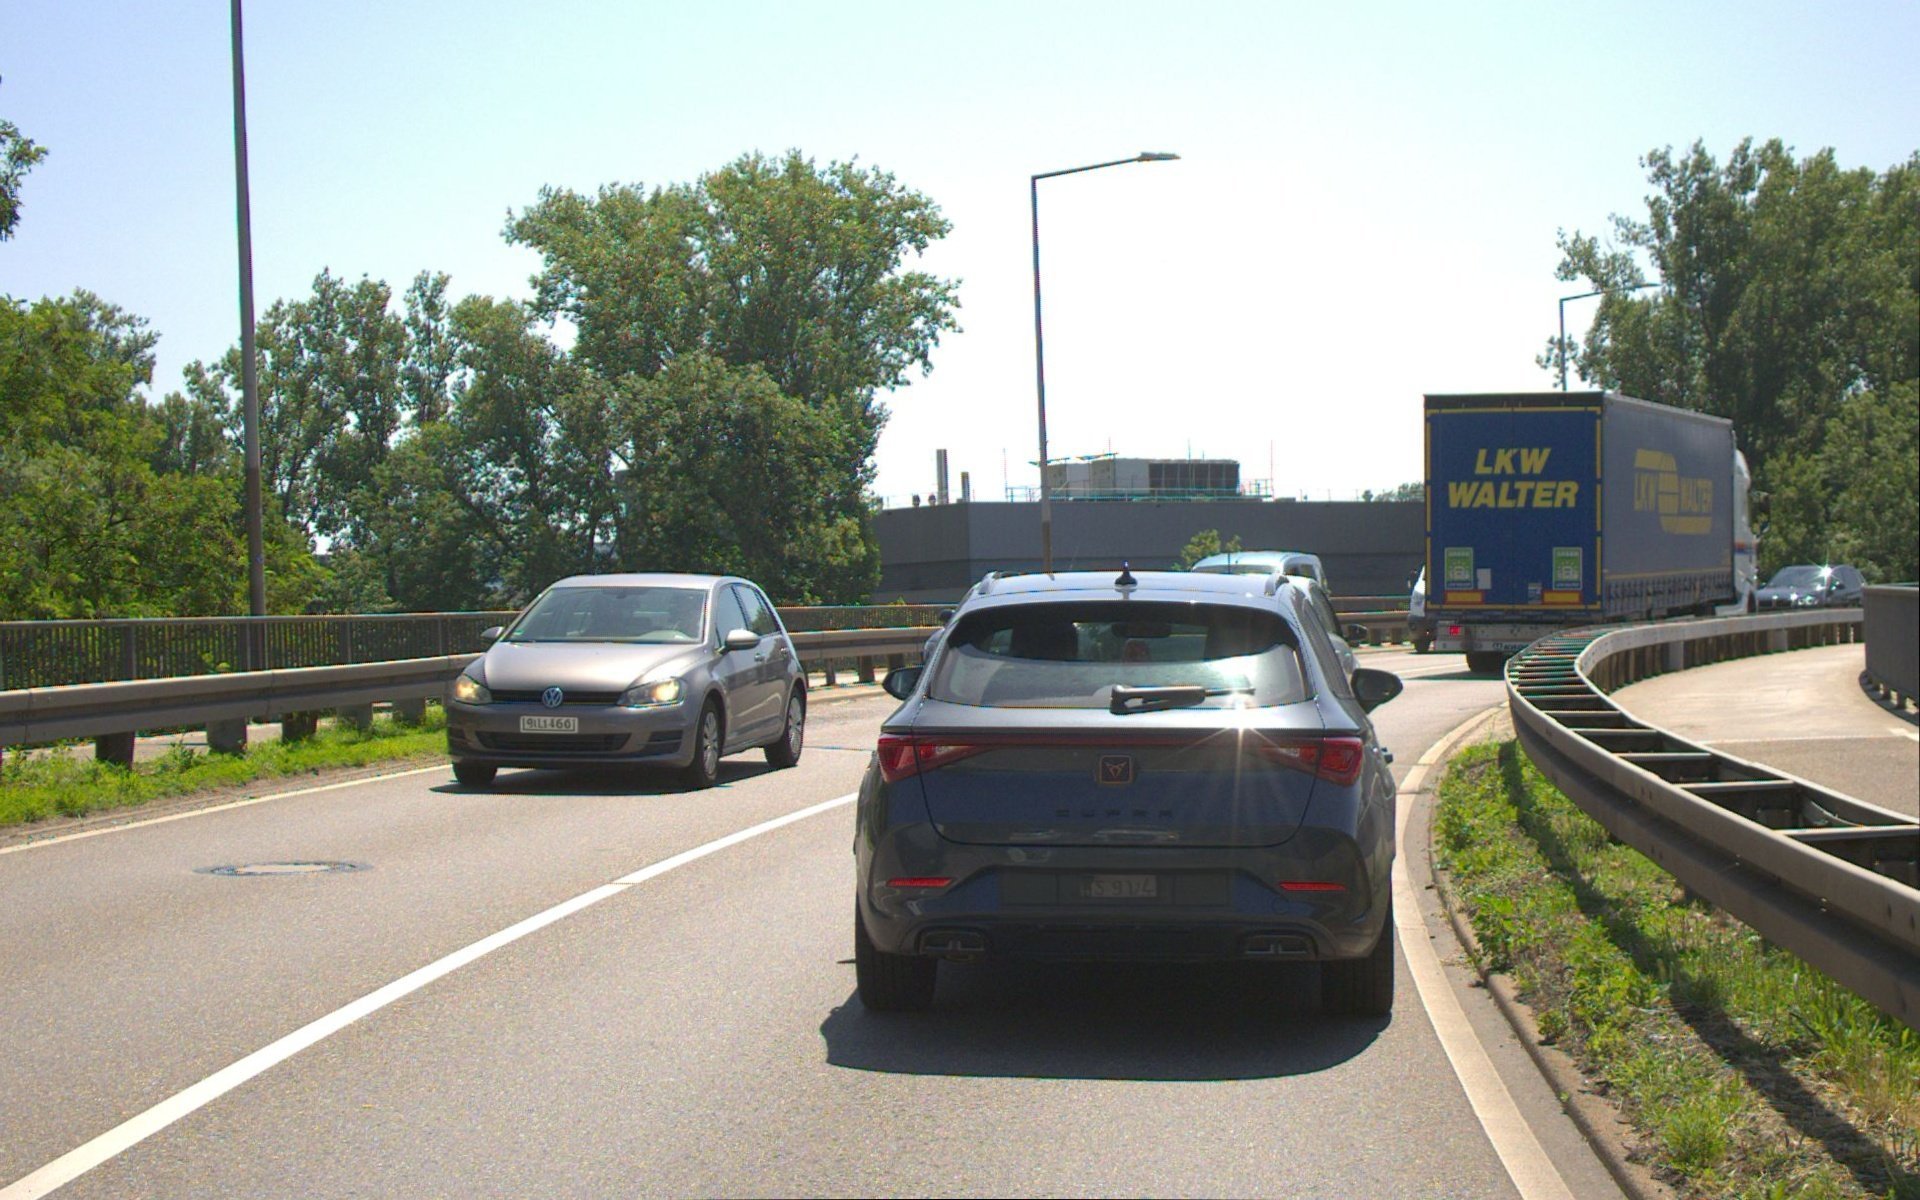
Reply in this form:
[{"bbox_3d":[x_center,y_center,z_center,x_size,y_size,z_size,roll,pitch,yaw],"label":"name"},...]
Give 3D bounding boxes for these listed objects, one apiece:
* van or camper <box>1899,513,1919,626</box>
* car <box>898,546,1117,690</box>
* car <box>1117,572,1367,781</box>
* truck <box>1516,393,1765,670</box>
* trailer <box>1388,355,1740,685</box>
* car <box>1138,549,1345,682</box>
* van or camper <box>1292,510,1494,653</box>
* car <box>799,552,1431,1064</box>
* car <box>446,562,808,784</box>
[{"bbox_3d":[25.120,-0.742,84.113,2.207,2.702,5.913,0,1,36],"label":"van or camper"},{"bbox_3d":[0.580,0.176,37.064,1.757,1.437,4.566,1,0,8],"label":"car"},{"bbox_3d":[2.224,0.538,26.387,1.593,1.456,3.543,1,0,9],"label":"car"},{"bbox_3d":[12.122,-1.120,60.675,3.173,4.569,7.389,1,0,20],"label":"truck"},{"bbox_3d":[9.857,-1.132,54.472,3.137,4.598,12.934,1,0,20],"label":"trailer"},{"bbox_3d":[4.161,0.210,50.213,1.759,1.849,4.270,1,0,23],"label":"car"},{"bbox_3d":[8.274,-0.389,65.136,2.051,2.529,5.876,-2,0,25],"label":"van or camper"},{"bbox_3d":[0.444,0.590,11.967,1.845,1.493,3.758,0,1,0],"label":"car"},{"bbox_3d":[-2.249,0.451,24.278,1.717,1.423,4.106,0,1,7],"label":"car"}]
